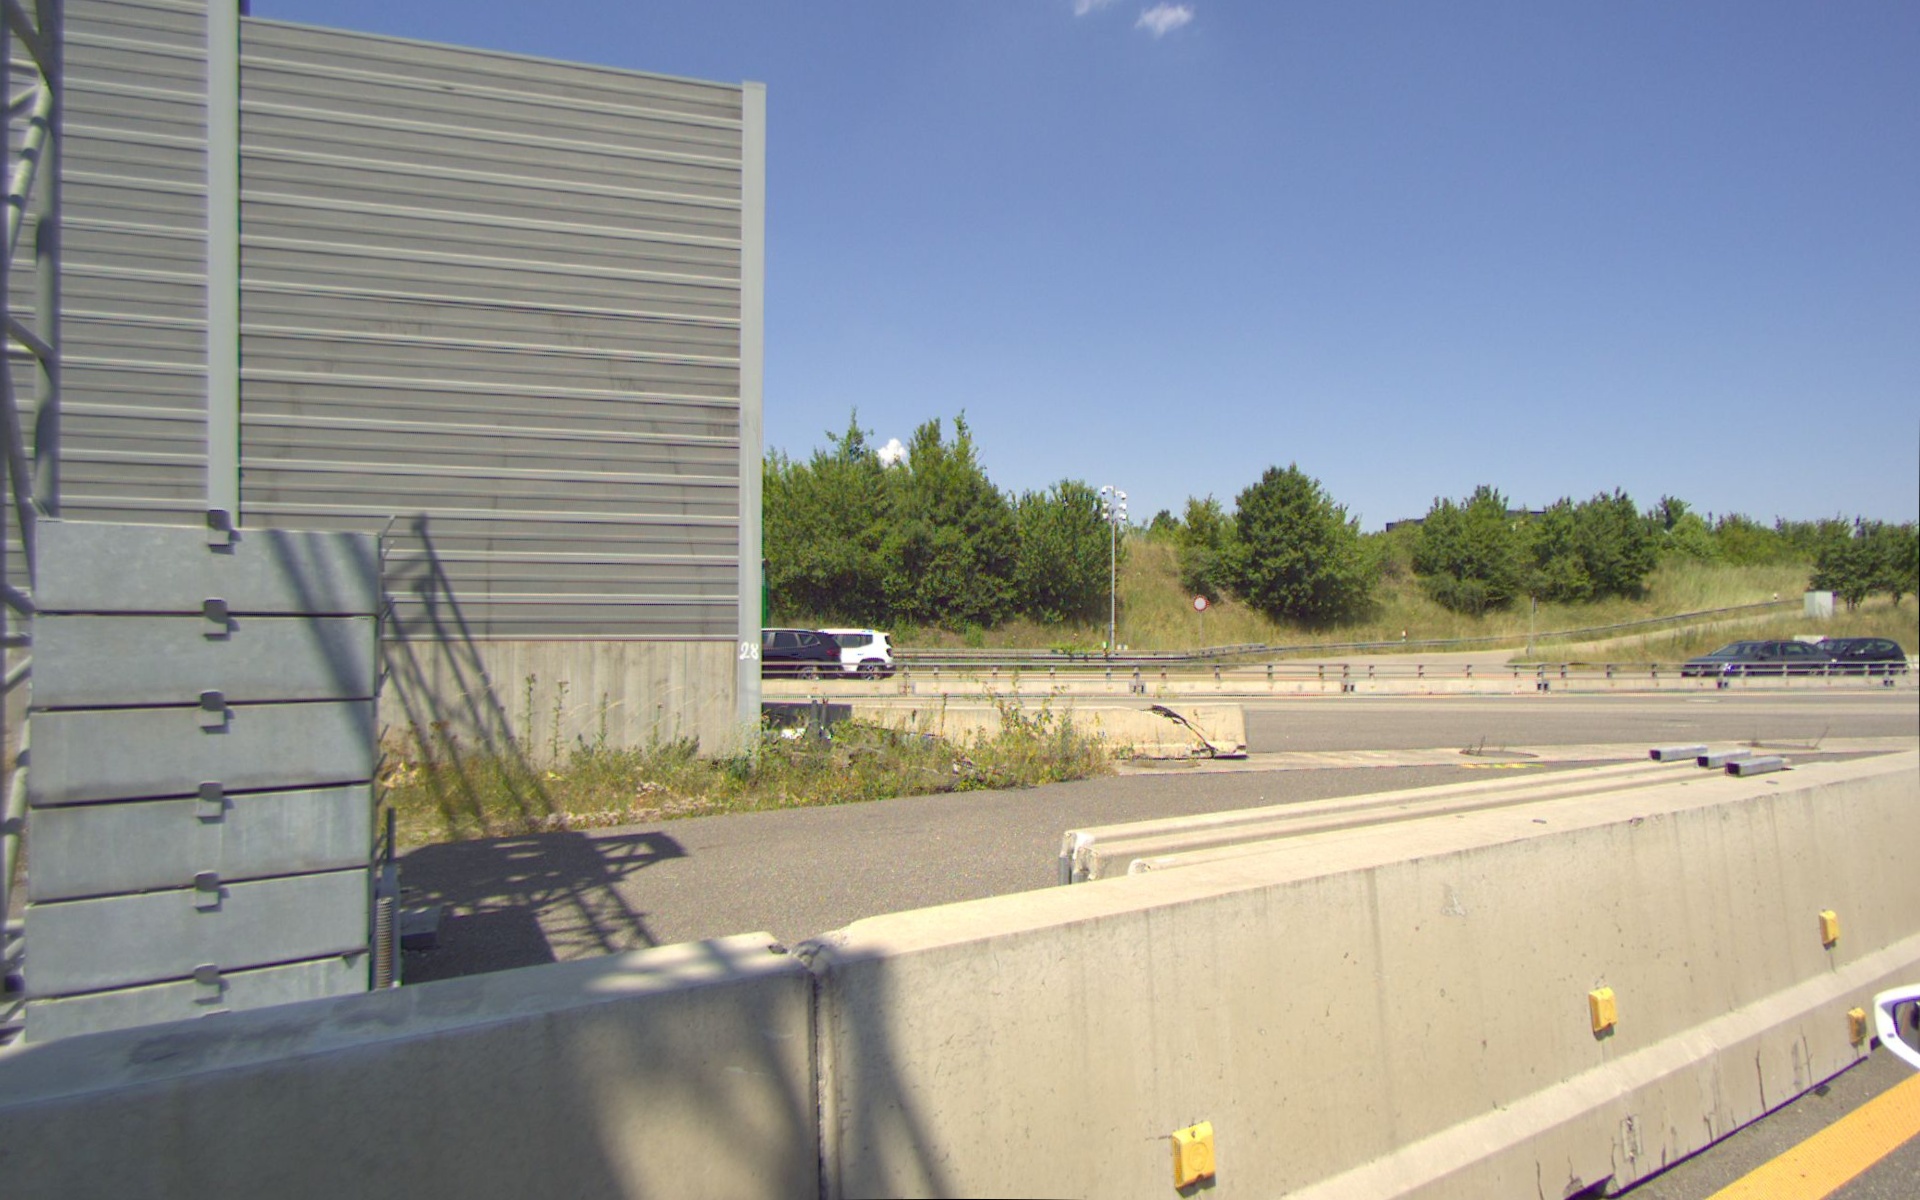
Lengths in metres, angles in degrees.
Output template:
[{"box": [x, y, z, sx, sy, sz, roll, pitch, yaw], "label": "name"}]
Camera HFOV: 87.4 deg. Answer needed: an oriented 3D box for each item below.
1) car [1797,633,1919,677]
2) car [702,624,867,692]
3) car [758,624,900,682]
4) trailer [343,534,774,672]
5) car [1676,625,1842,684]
[{"box": [32.672, 1.992, 36.421, 3.624, 1.511, 1.717, 1, -1, -12], "label": "car"}, {"box": [-4.562, 1.504, 26.288, 4.096, 1.645, 1.718, 1, 0, -11], "label": "car"}, {"box": [-3.954, 1.579, 30.225, 4.096, 1.645, 1.718, 1, 0, -11], "label": "car"}, {"box": [-13.686, 0.170, 35.713, 13.652, 4.327, 3.553, 1, 0, -8], "label": "trailer"}, {"box": [25.290, 1.713, 31.828, 4.373, 1.753, 1.699, 1, -1, -11], "label": "car"}]
